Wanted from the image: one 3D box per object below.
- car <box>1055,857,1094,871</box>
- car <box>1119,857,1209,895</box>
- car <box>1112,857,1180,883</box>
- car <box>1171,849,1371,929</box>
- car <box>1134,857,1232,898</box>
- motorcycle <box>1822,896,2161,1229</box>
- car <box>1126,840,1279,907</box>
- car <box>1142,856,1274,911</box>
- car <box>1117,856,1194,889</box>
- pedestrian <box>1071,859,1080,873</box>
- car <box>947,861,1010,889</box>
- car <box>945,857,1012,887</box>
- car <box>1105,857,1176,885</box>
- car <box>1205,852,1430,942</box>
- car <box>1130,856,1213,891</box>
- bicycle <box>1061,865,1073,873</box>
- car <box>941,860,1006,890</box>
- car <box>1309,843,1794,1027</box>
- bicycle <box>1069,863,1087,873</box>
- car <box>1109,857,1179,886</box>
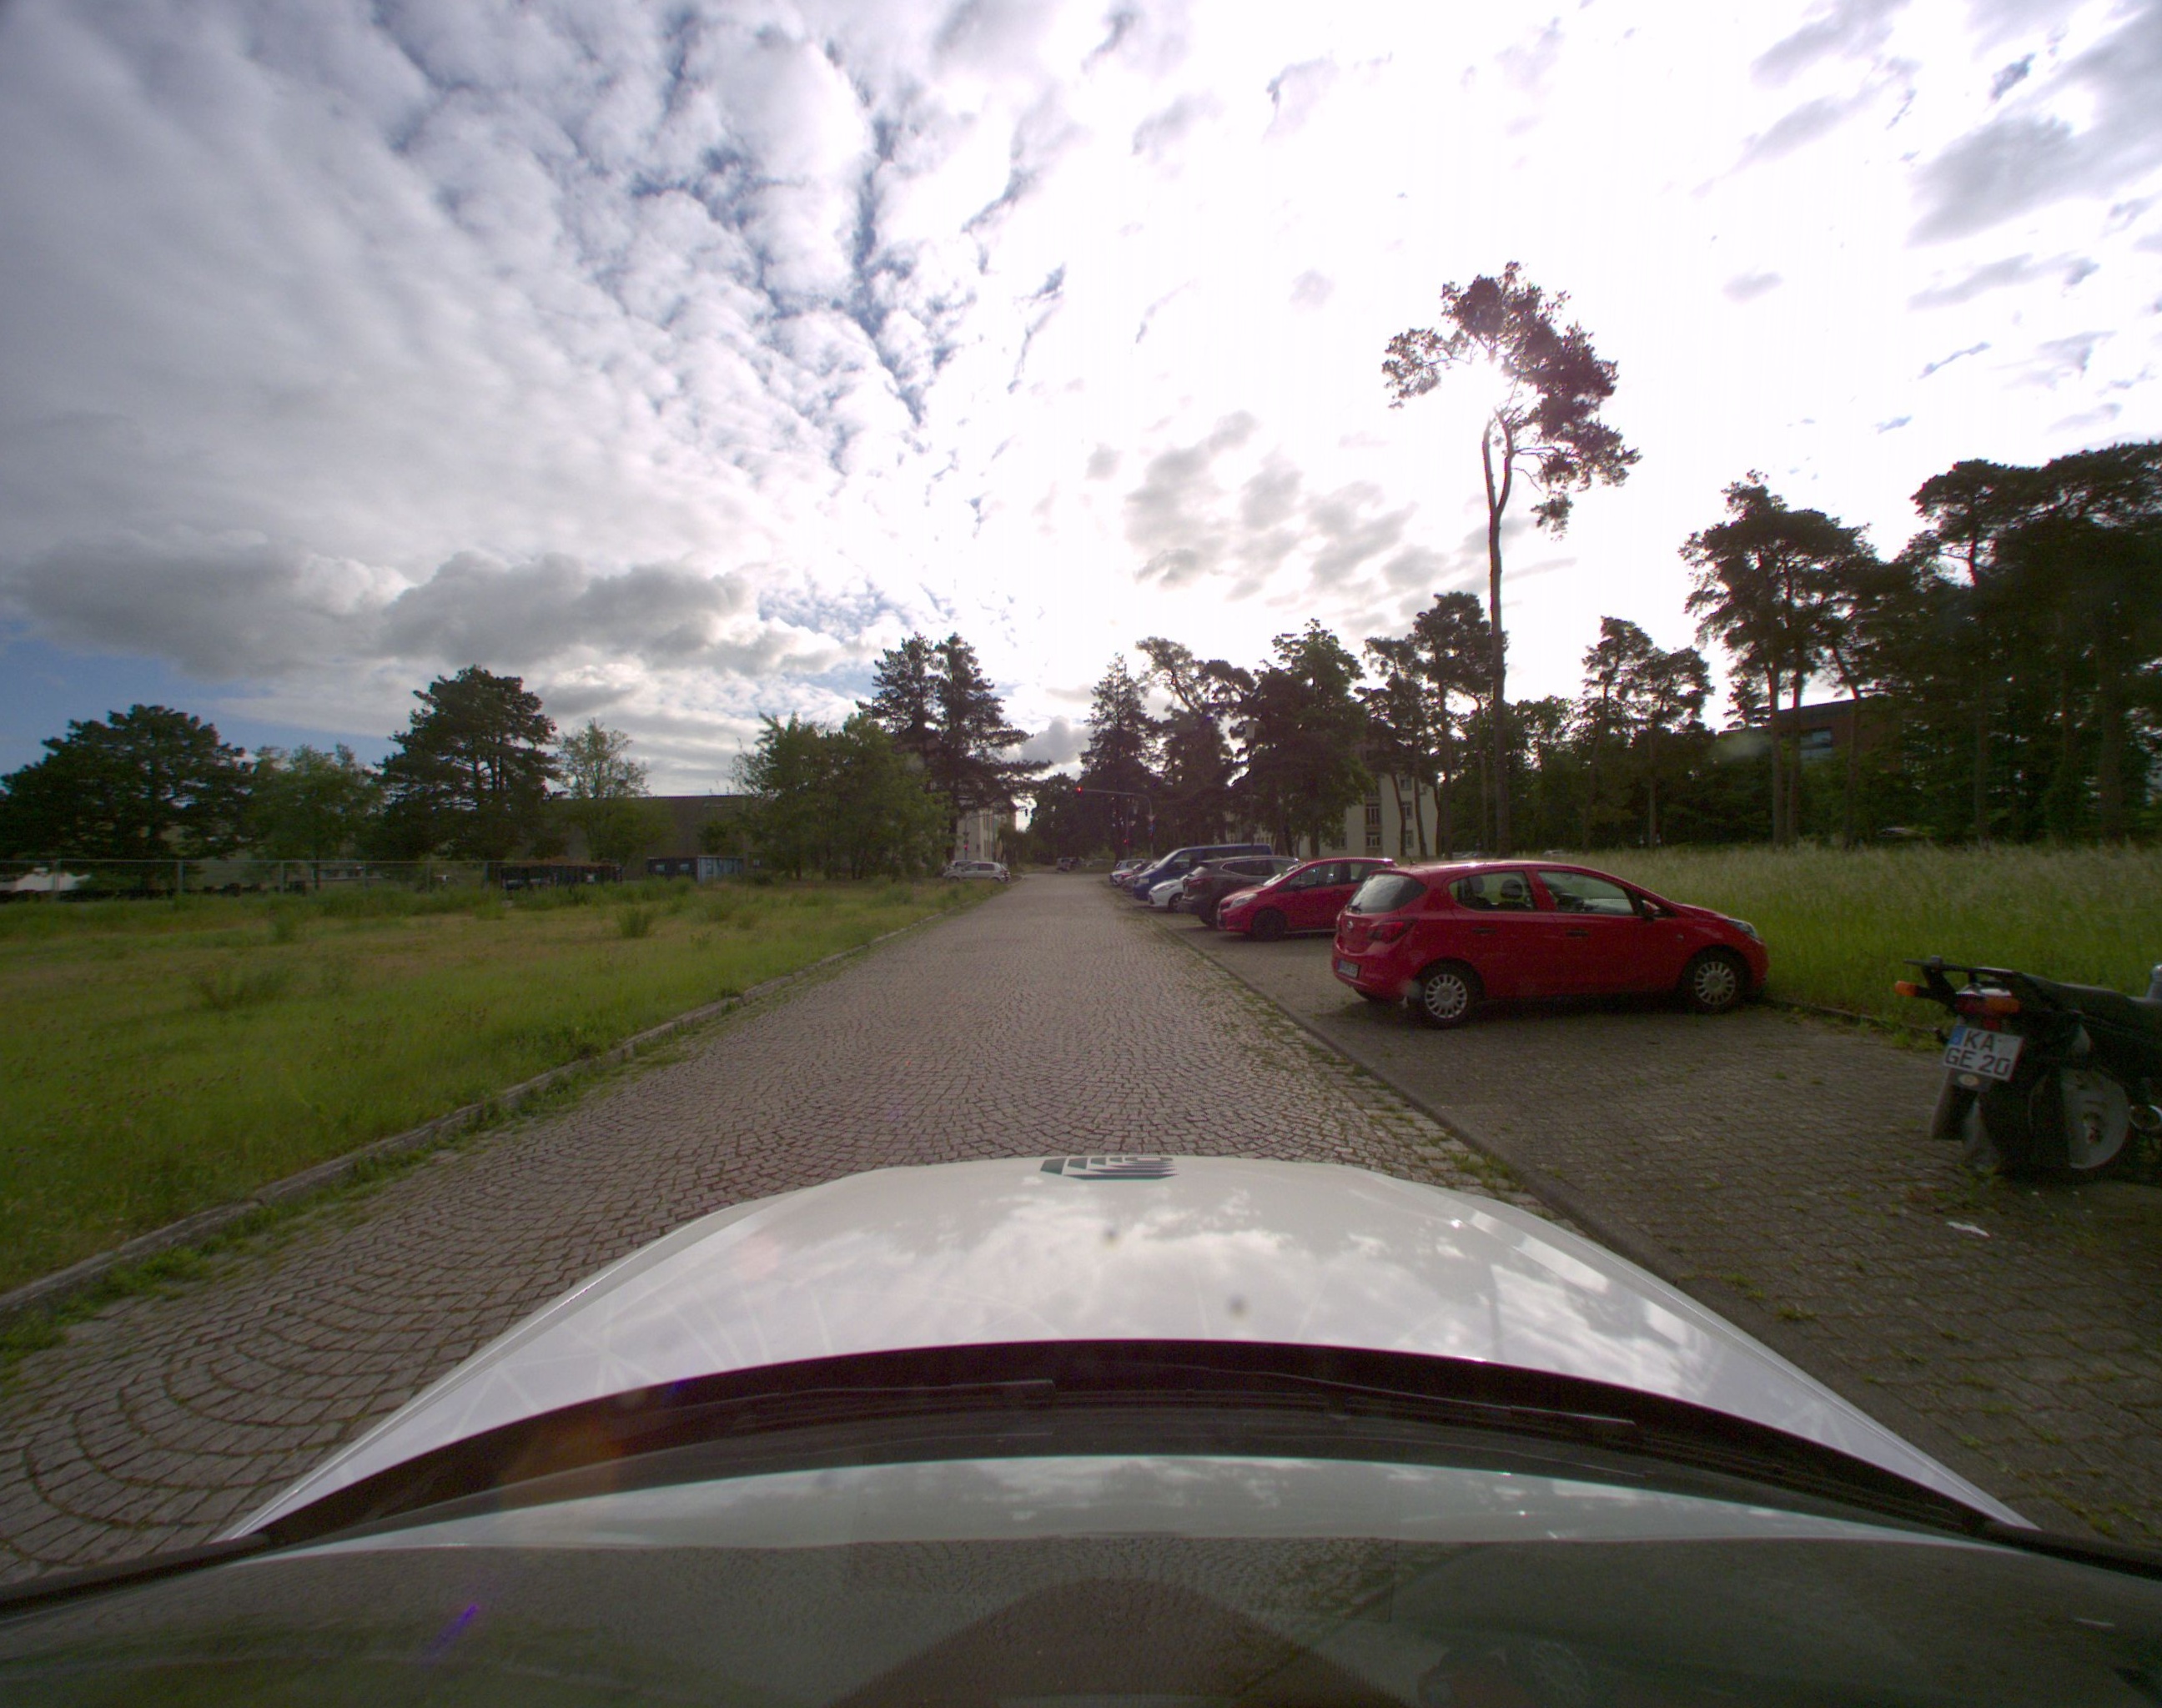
[{"bbox_3d":[-0.947,1.430,117.828,5.447,2.014,2.260,0,-1,-10],"label":"car"},{"bbox_3d":[3.588,0.924,35.393,3.664,1.449,1.522,-3,-1,-3],"label":"car"},{"bbox_3d":[4.054,1.000,51.141,3.962,1.421,1.616,-3,-1,-6],"label":"car"},{"bbox_3d":[4.208,0.757,18.387,4.020,1.552,1.748,-3,-1,-4],"label":"car"},{"bbox_3d":[4.056,0.922,32.628,3.664,1.449,1.522,-3,-1,-3],"label":"car"},{"bbox_3d":[4.809,0.825,3.654,2.322,1.186,0.794,-2,-1,-4],"label":"motorcycle"},{"bbox_3d":[4.000,0.652,27.352,4.744,1.954,1.929,-3,-1,-3],"label":"car"},{"bbox_3d":[3.804,0.887,24.751,3.664,1.449,1.612,-3,-1,-4],"label":"car"},{"bbox_3d":[3.715,0.932,41.091,3.664,1.449,1.522,-3,-1,-3],"label":"car"},{"bbox_3d":[-0.627,1.479,100.271,1.032,1.614,0.756,0,-1,-6],"label":"pedestrian"},{"bbox_3d":[-6.525,1.330,52.188,3.811,1.572,1.563,-3,-1,-2],"label":"car"},{"bbox_3d":[-6.926,1.204,55.166,4.251,1.840,1.742,-3,-1,-2],"label":"car"},{"bbox_3d":[3.528,1.008,48.476,3.962,1.421,1.616,-3,-1,-6],"label":"car"},{"bbox_3d":[4.453,0.789,15.743,3.781,1.460,1.750,-3,-1,-2],"label":"car"},{"bbox_3d":[4.238,0.919,38.400,3.664,1.449,1.522,-3,-1,-3],"label":"car"},{"bbox_3d":[-1.654,1.752,95.827,0.623,0.945,1.647,0,-1,-29],"label":"bicycle"},{"bbox_3d":[-6.529,1.271,49.772,3.815,1.572,1.562,-3,-1,-5],"label":"car"},{"bbox_3d":[4.469,0.723,8.156,3.816,1.460,1.778,-3,-1,-2],"label":"car"},{"bbox_3d":[-0.419,1.679,99.931,2.134,1.215,0.621,0,-1,-6],"label":"bicycle"},{"bbox_3d":[3.489,0.979,45.621,3.667,1.421,1.521,-2,-1,-6],"label":"car"}]
